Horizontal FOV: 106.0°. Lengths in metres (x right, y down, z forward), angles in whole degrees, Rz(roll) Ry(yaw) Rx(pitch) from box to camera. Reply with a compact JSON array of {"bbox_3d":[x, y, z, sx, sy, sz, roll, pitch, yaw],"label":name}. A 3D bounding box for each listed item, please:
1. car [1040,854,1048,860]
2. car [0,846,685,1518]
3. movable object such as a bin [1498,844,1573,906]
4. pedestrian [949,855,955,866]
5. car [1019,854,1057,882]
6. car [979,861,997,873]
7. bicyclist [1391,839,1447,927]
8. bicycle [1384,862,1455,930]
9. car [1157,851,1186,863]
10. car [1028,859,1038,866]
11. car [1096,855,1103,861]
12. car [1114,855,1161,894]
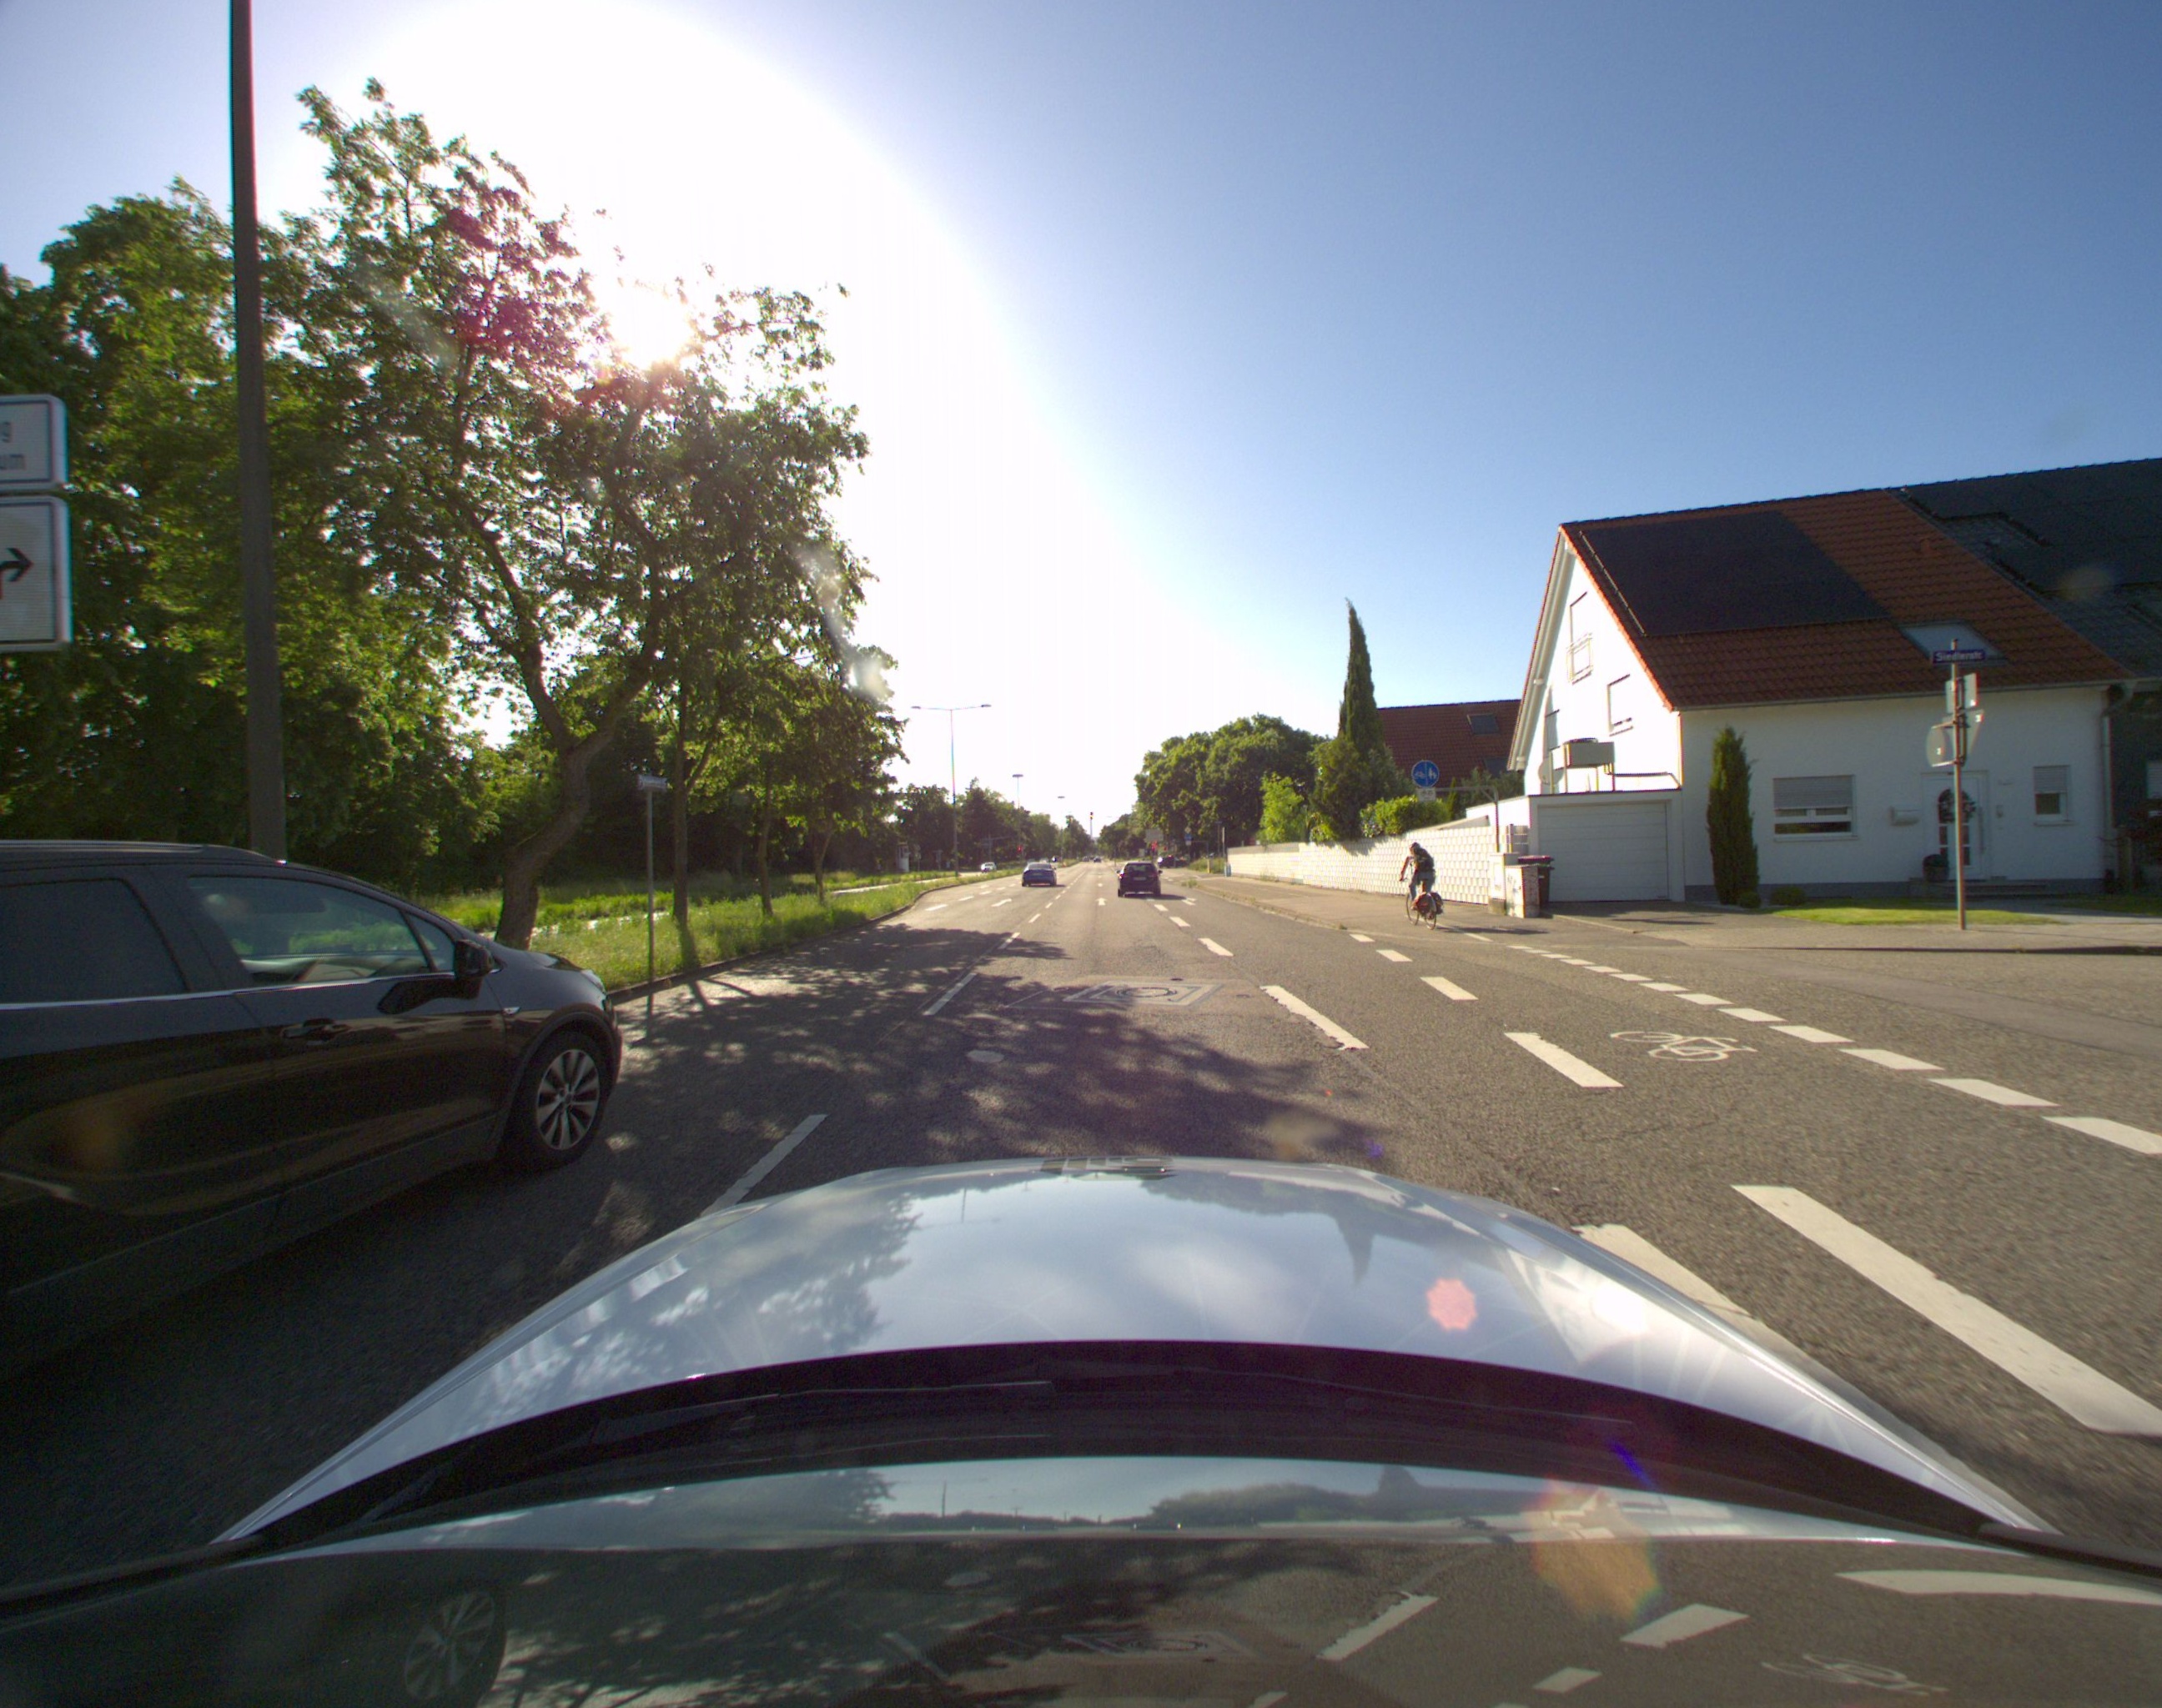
[{"bbox_3d":[-10.400,0.927,227.788,1.857,1.684,4.001,0,0,1],"label":"car"},{"bbox_3d":[-3.468,0.823,3.026,1.689,1.632,4.419,-2,0,1],"label":"car"},{"bbox_3d":[9.479,0.433,17.033,0.996,1.205,1.065,-4,-1,8],"label":"movable object such as a bin"},{"bbox_3d":[-22.011,1.083,138.564,0.842,1.834,0.550,-1,6,4],"label":"pedestrian"},{"bbox_3d":[-2.516,0.824,48.661,1.882,1.552,4.001,-2,0,1],"label":"car"},{"bbox_3d":[-13.254,1.885,115.963,1.905,1.703,4.409,0,-1,2],"label":"car"},{"bbox_3d":[6.628,0.551,16.009,0.627,1.632,0.983,-5,0,4],"label":"bicyclist"},{"bbox_3d":[6.660,0.796,16.134,0.571,1.155,2.143,-5,1,4],"label":"bicycle"},{"bbox_3d":[12.078,0.421,108.815,3.860,1.459,1.717,-2,0,-41],"label":"car"},{"bbox_3d":[-11.088,1.999,188.829,1.857,1.684,4.261,0,0,1],"label":"car"},{"bbox_3d":[4.676,1.056,205.215,1.726,1.585,3.842,0,0,2],"label":"car"},{"bbox_3d":[2.303,0.811,34.122,1.749,1.509,3.809,-1,0,1],"label":"car"}]
